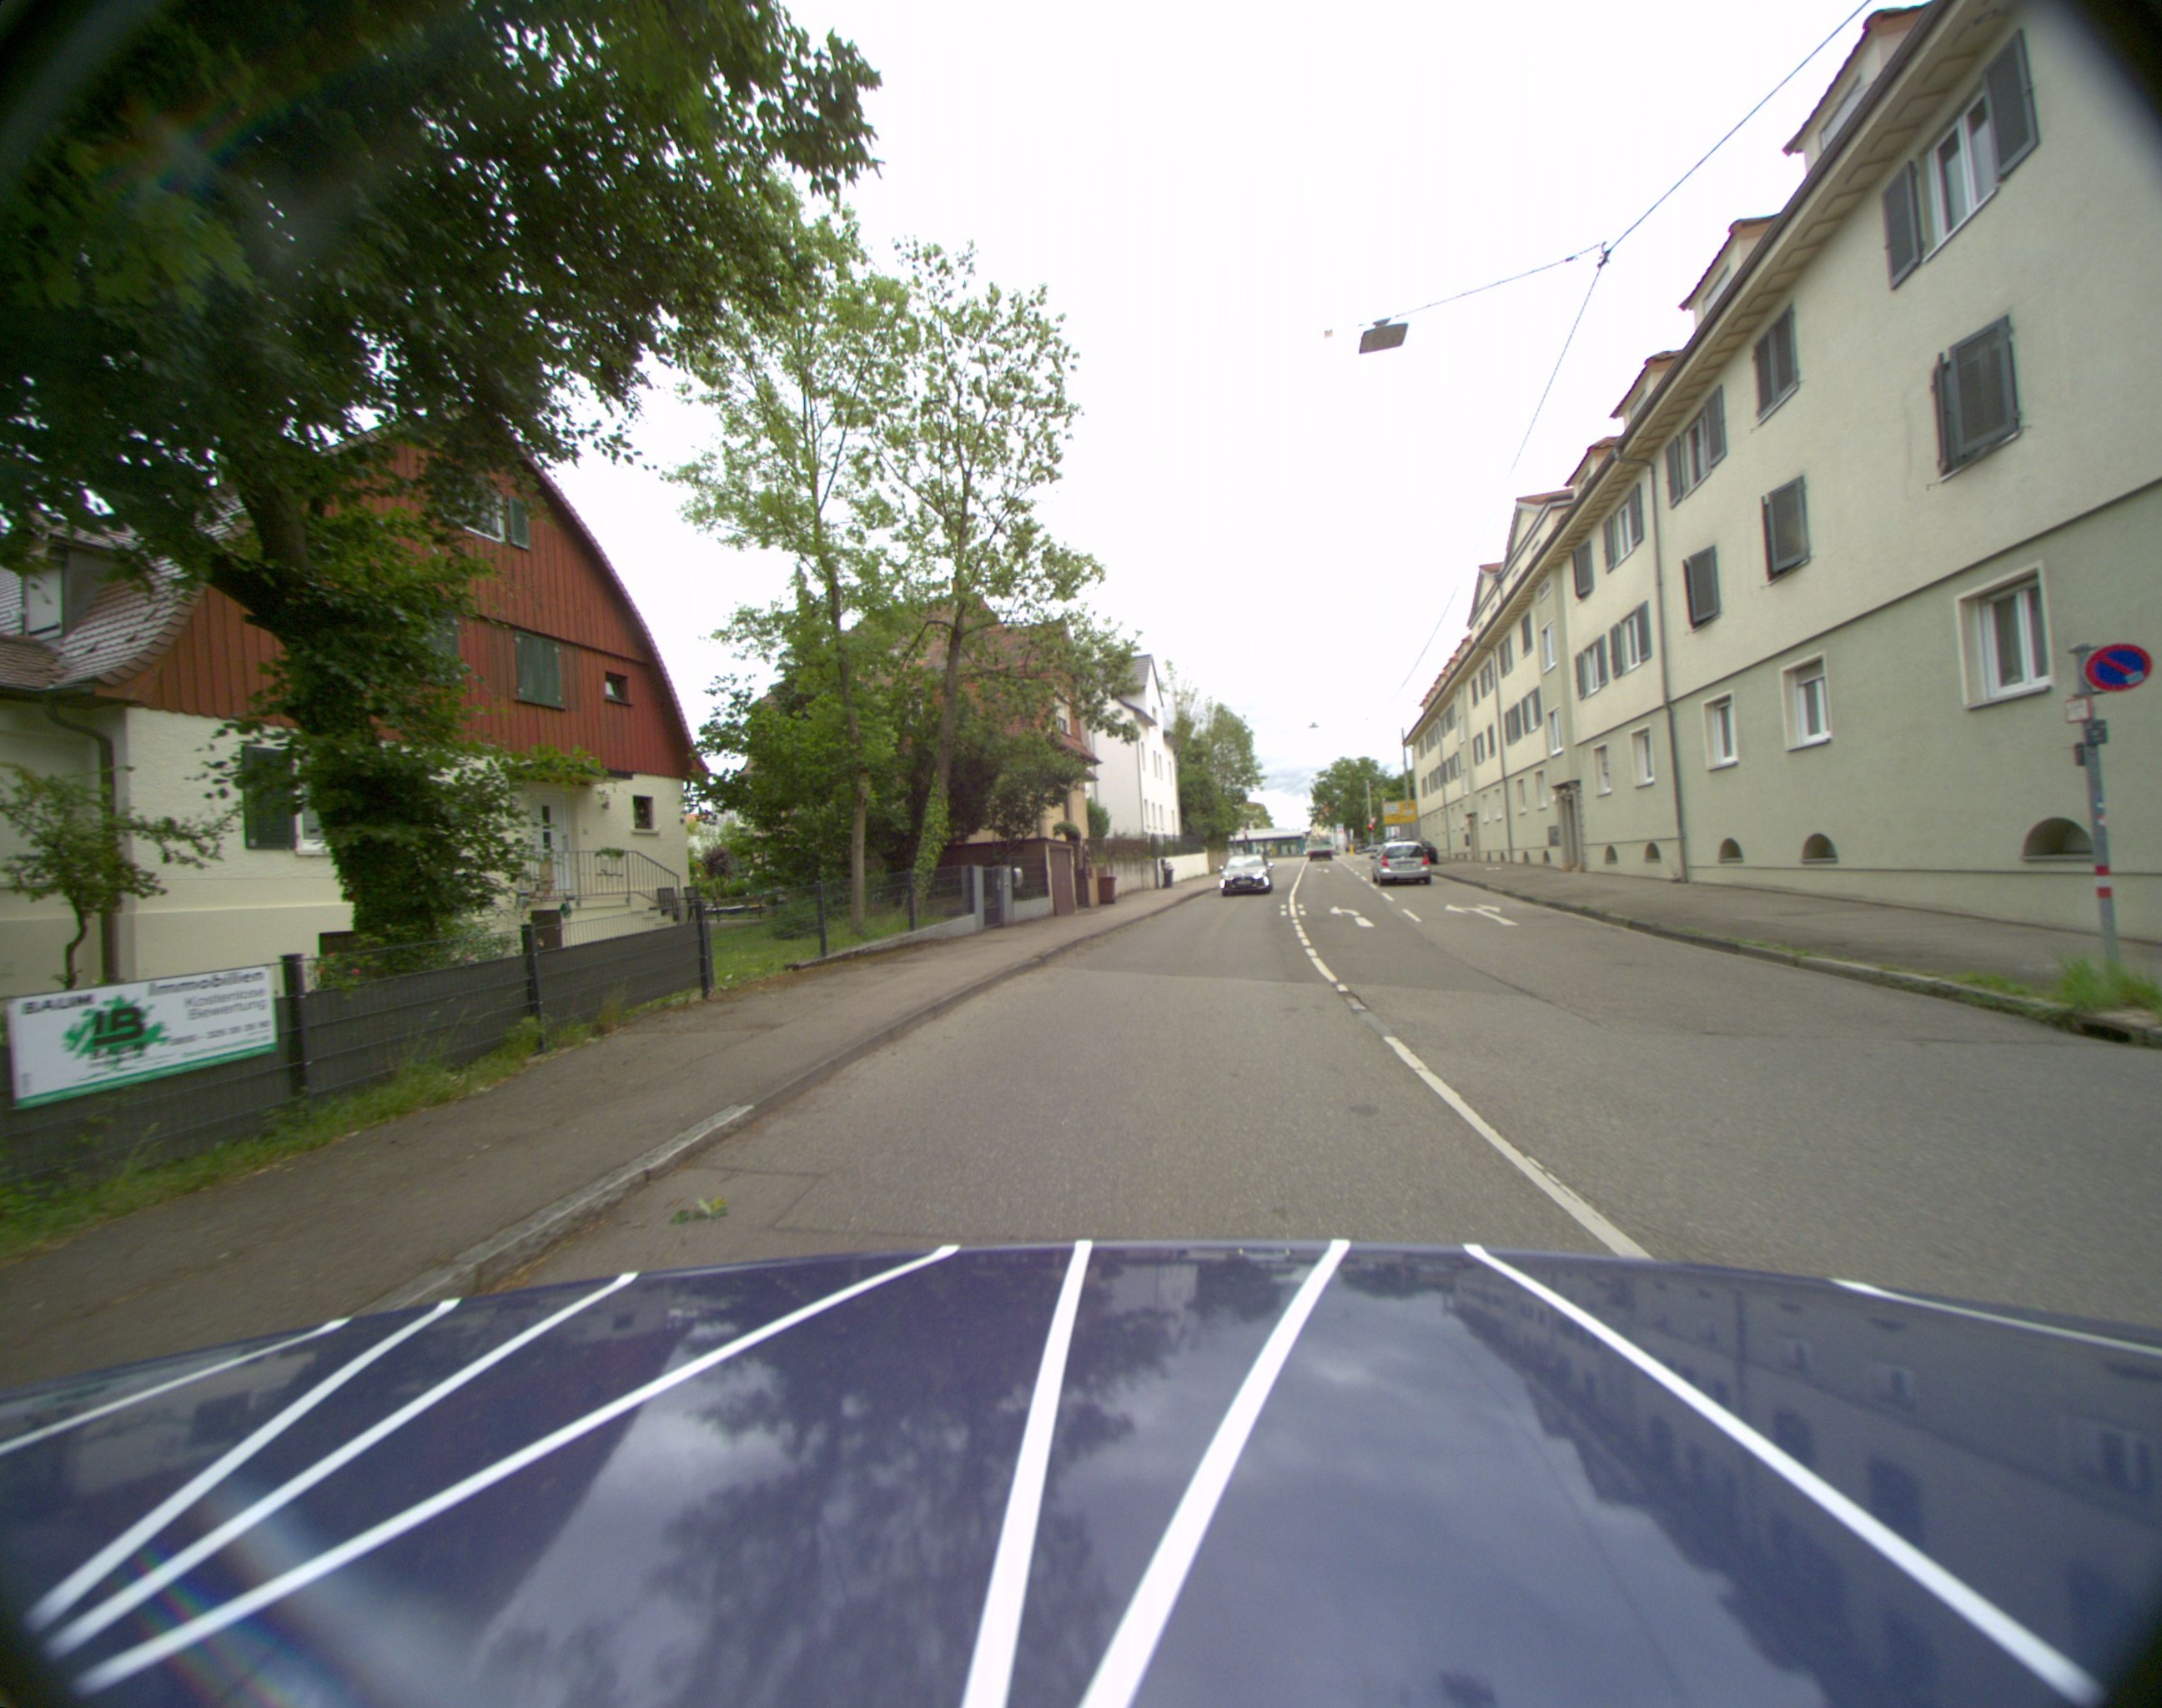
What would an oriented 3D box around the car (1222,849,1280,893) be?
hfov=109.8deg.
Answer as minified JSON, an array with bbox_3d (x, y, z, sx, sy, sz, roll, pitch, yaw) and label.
[{"bbox_3d":[6.355,0.573,28.058,1.644,1.390,3.786,-3,0,19],"label":"car"}]

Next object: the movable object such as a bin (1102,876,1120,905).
[{"bbox_3d":[0.977,1.183,24.848,0.462,0.919,0.567,0,1,16],"label":"movable object such as a bin"}]

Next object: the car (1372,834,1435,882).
[{"bbox_3d":[12.097,0.106,28.718,1.724,1.595,3.981,-3,0,17],"label":"car"}]

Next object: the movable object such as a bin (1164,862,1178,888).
[{"bbox_3d":[4.109,0.953,34.721,0.528,1.171,0.635,0,1,16],"label":"movable object such as a bin"}]

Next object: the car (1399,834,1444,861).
[{"bbox_3d":[20.020,-0.407,44.837,1.713,1.395,4.851,-3,0,17],"label":"car"}]

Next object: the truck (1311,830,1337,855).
[{"bbox_3d":[23.185,-1.064,72.418,2.123,2.188,6.598,-2,0,18],"label":"truck"}]

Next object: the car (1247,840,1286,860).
[{"bbox_3d":[20.384,-0.421,83.541,3.993,2.002,2.002,-3,1,14],"label":"car"}]

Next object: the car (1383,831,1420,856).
[{"bbox_3d":[23.252,-0.725,55.289,1.824,1.623,4.702,-4,-1,16],"label":"car"}]
